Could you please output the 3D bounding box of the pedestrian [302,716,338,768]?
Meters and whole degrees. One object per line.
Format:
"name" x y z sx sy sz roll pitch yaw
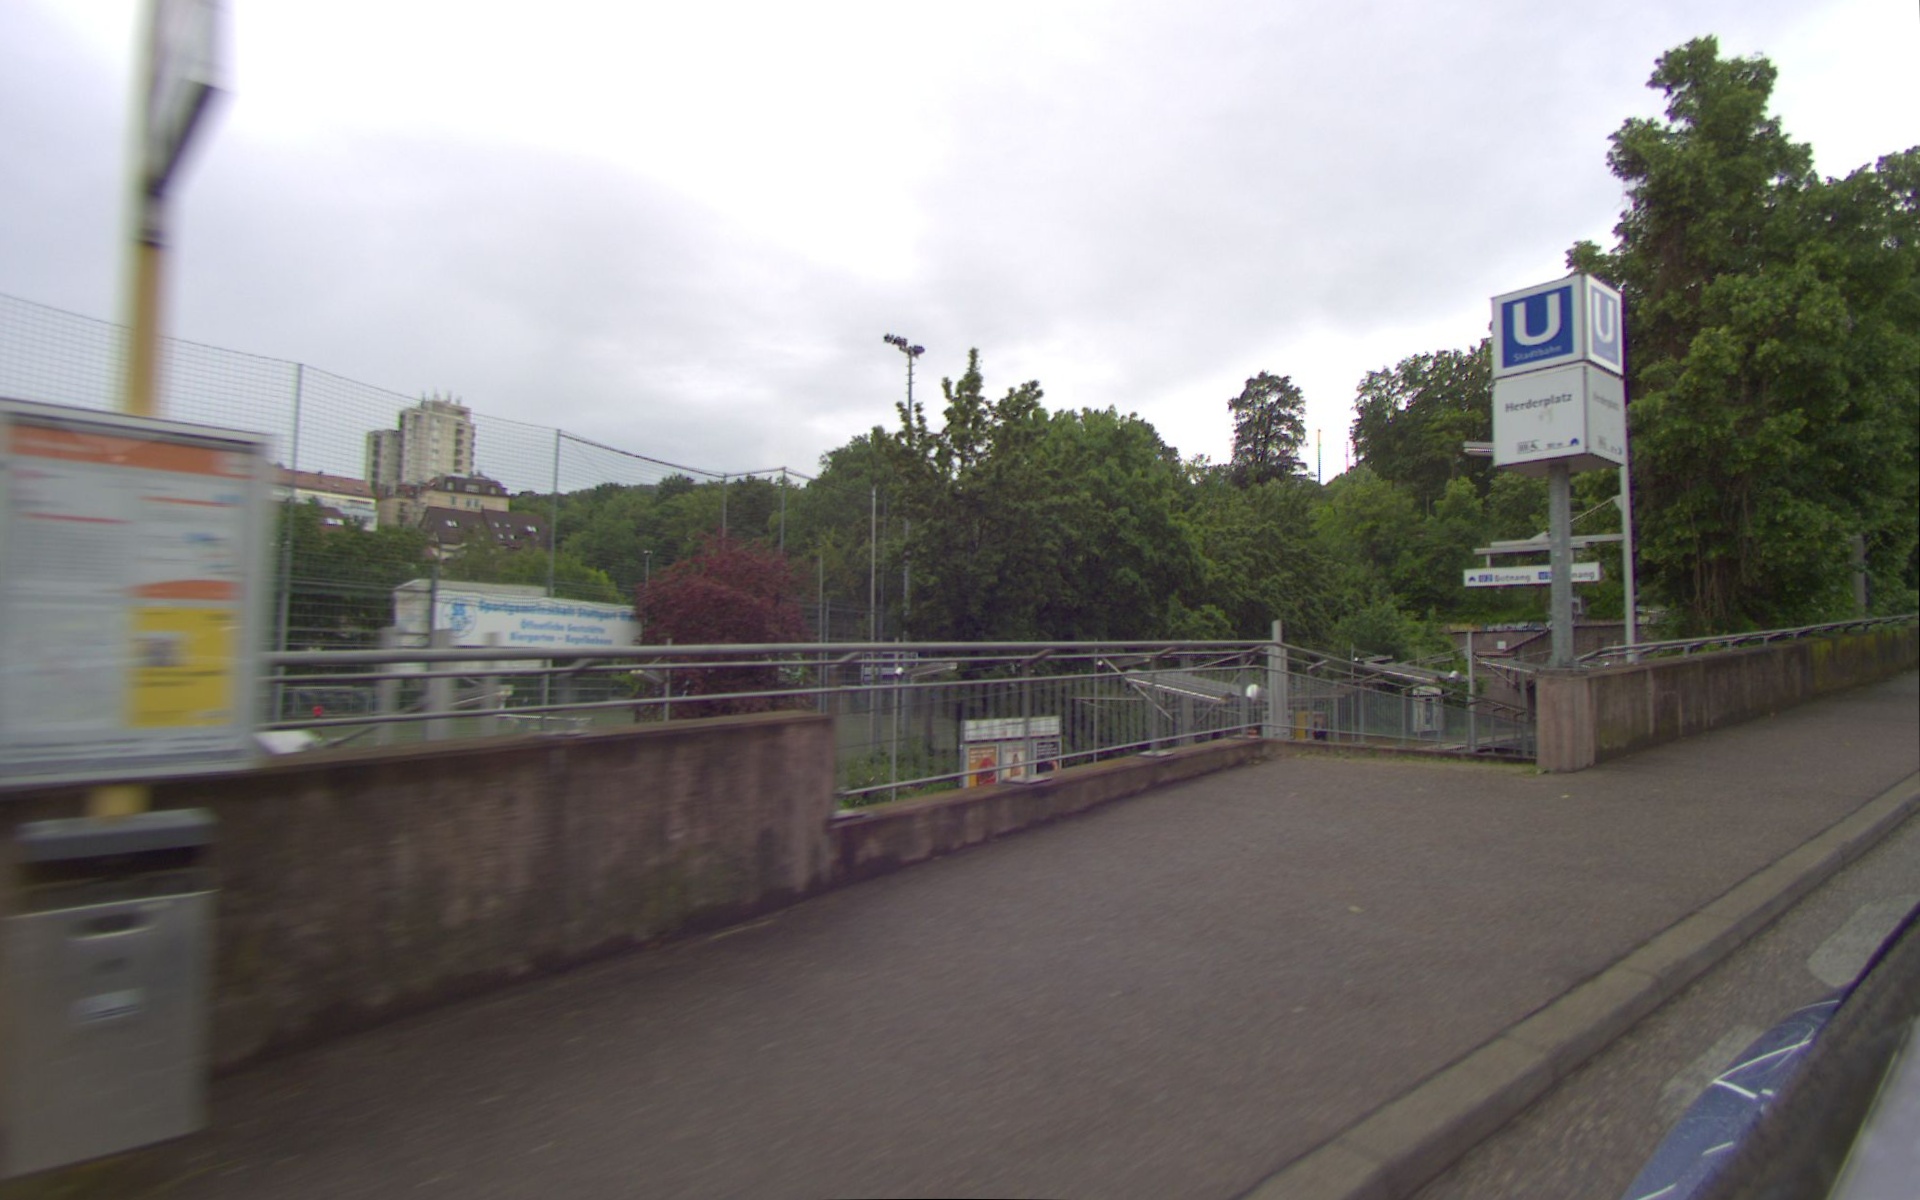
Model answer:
"pedestrian" -24.597 5.455 38.896 1.016 1.856 0.968 -1 -6 -39

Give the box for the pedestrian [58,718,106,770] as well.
"pedestrian" -33.852 5.539 39.023 0.951 1.856 1.033 -5 -4 1

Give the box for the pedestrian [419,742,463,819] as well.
"pedestrian" -13.620 4.721 26.560 0.816 1.856 0.753 -3 -5 -14

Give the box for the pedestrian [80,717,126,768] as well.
"pedestrian" -33.905 5.611 40.050 0.951 1.856 1.033 -5 -4 1

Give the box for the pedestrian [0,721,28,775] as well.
"pedestrian" -34.336 5.338 36.468 0.951 1.856 1.033 -1 -6 -36

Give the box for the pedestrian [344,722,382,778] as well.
"pedestrian" -21.244 5.331 35.999 1.016 1.856 0.968 -1 -6 -39
